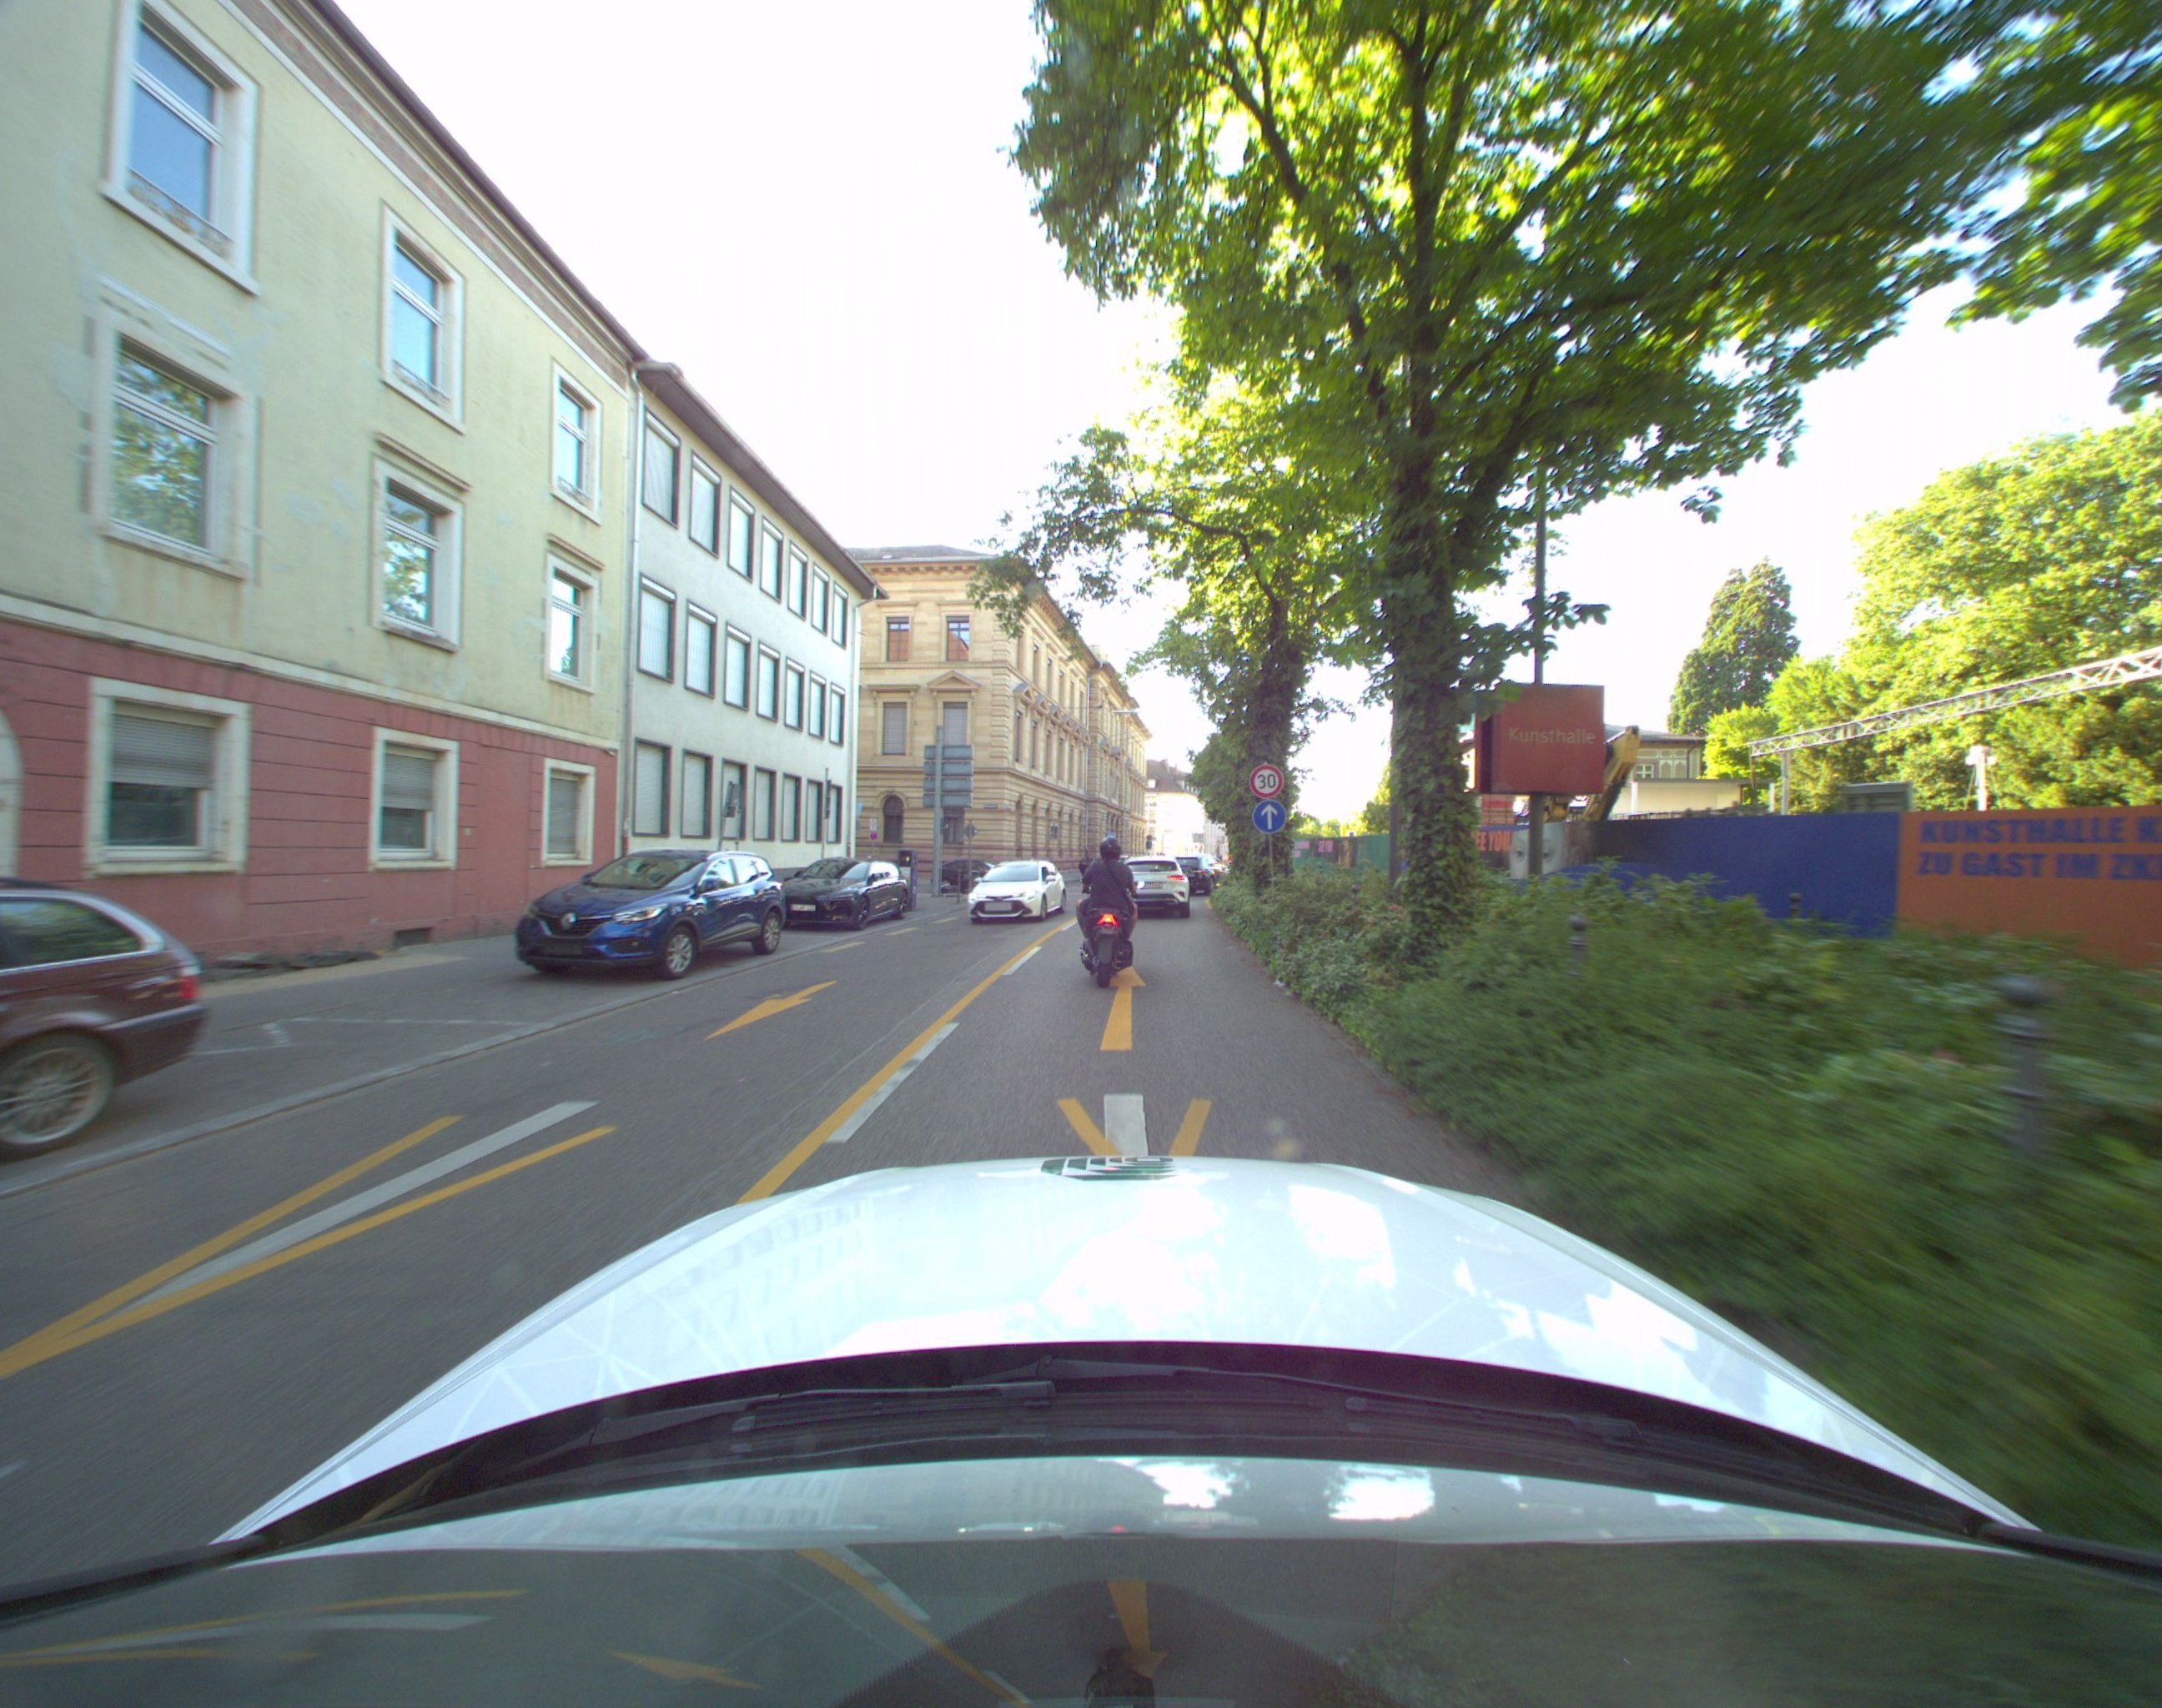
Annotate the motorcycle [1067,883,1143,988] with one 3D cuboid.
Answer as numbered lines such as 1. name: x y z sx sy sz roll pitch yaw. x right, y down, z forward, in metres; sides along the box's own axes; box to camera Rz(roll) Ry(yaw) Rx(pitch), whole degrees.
1. motorcycle: 0.328 0.928 9.829 0.793 1.066 1.727 2 0 5

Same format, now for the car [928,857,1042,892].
1. car: -3.919 0.810 33.417 4.284 1.390 1.782 0 0 12

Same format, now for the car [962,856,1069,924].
1. car: -1.509 0.823 20.434 1.725 1.421 4.437 -3 0 7

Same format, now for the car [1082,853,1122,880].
1. car: 1.342 0.755 50.436 1.983 1.567 4.298 0 0 7

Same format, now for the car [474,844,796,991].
1. car: -5.865 0.715 11.480 1.925 1.667 4.351 0 0 4

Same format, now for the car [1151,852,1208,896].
1. car: 3.758 0.710 30.462 1.829 1.463 4.069 2 0 10

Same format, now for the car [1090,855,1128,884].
1. car: 1.566 0.786 44.153 1.761 1.461 4.476 0 0 5

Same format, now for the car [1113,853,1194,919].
1. car: 1.770 0.734 20.772 1.843 1.480 4.061 -1 0 3

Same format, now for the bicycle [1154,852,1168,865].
1. bicycle: 6.585 0.350 66.808 0.528 1.035 2.047 0 0 23

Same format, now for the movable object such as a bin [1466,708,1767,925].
1. movable object such as a bin: 13.151 -0.810 21.144 3.290 4.539 7.918 0 0 6

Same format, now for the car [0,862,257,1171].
1. car: -6.085 0.803 2.964 1.648 1.480 4.427 0 0 0

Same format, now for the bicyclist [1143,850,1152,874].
1. bicyclist: 4.653 0.563 57.091 0.562 1.666 0.837 0 0 10

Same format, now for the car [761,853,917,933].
1. car: -5.274 0.764 18.506 1.816 1.503 4.764 2 0 3

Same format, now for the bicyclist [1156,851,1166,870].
1. bicyclist: 6.550 0.555 66.843 0.622 1.554 0.736 0 0 23

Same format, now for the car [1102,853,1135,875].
1. car: 2.683 0.682 57.519 1.983 1.528 4.193 0 0 7

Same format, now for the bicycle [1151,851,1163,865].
1. bicycle: 5.757 0.322 61.689 0.528 1.035 1.916 0 0 18

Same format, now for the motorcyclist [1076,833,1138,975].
1. motorcyclist: 0.325 0.593 9.933 0.654 1.650 0.652 2 0 6

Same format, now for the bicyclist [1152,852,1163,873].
1. bicyclist: 5.812 0.656 61.690 0.623 1.613 0.874 0 0 18
